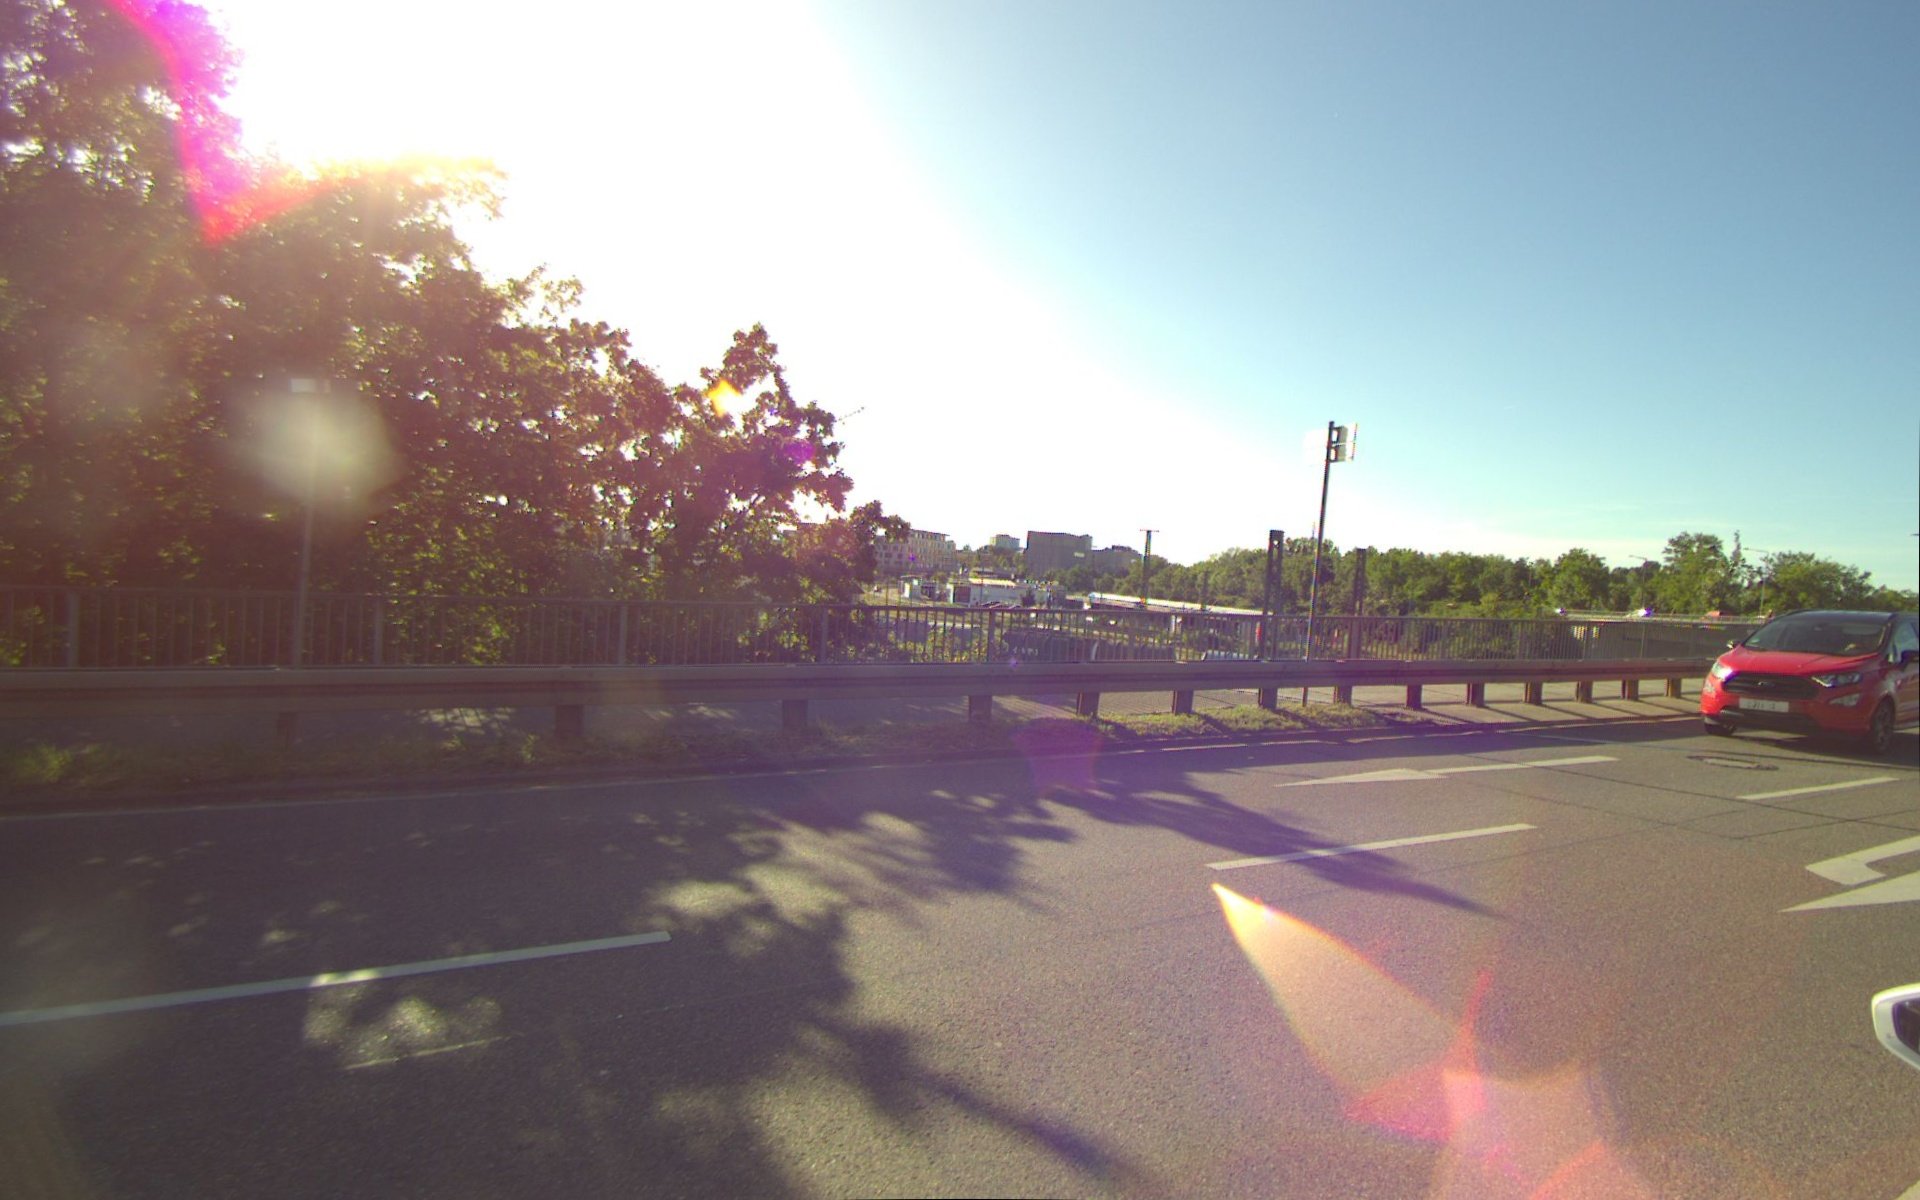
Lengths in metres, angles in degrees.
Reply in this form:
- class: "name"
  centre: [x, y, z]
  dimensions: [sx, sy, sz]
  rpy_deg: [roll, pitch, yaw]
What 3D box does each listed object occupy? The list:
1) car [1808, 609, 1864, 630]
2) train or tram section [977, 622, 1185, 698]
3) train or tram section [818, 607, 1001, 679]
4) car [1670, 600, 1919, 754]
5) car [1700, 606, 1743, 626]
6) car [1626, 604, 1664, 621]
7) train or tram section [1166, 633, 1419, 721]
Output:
- class: "car"
  centre: [76.659, 1.677, 87.945]
  dimensions: [1.804, 1.576, 3.895]
  rpy_deg: [2, 1, 8]
- class: "train or tram section"
  centre: [9.305, 4.493, 79.408]
  dimensions: [16.022, 4.653, 3.898]
  rpy_deg: [3, 1, 30]
- class: "train or tram section"
  centre: [-4.633, 3.542, 87.590]
  dimensions: [16.371, 5.084, 3.898]
  rpy_deg: [3, 1, 30]
- class: "car"
  centre: [11.092, 0.899, 12.865]
  dimensions: [3.954, 1.659, 1.795]
  rpy_deg: [2, 1, -31]
- class: "car"
  centre: [83.324, 1.730, 109.968]
  dimensions: [1.923, 1.977, 4.002]
  rpy_deg: [2, 1, 7]
- class: "car"
  centre: [85.217, 1.546, 124.951]
  dimensions: [1.924, 1.977, 4.000]
  rpy_deg: [2, 1, 1]
- class: "train or tram section"
  centre: [23.249, 5.207, 71.181]
  dimensions: [16.470, 4.653, 3.898]
  rpy_deg: [3, 1, 30]
